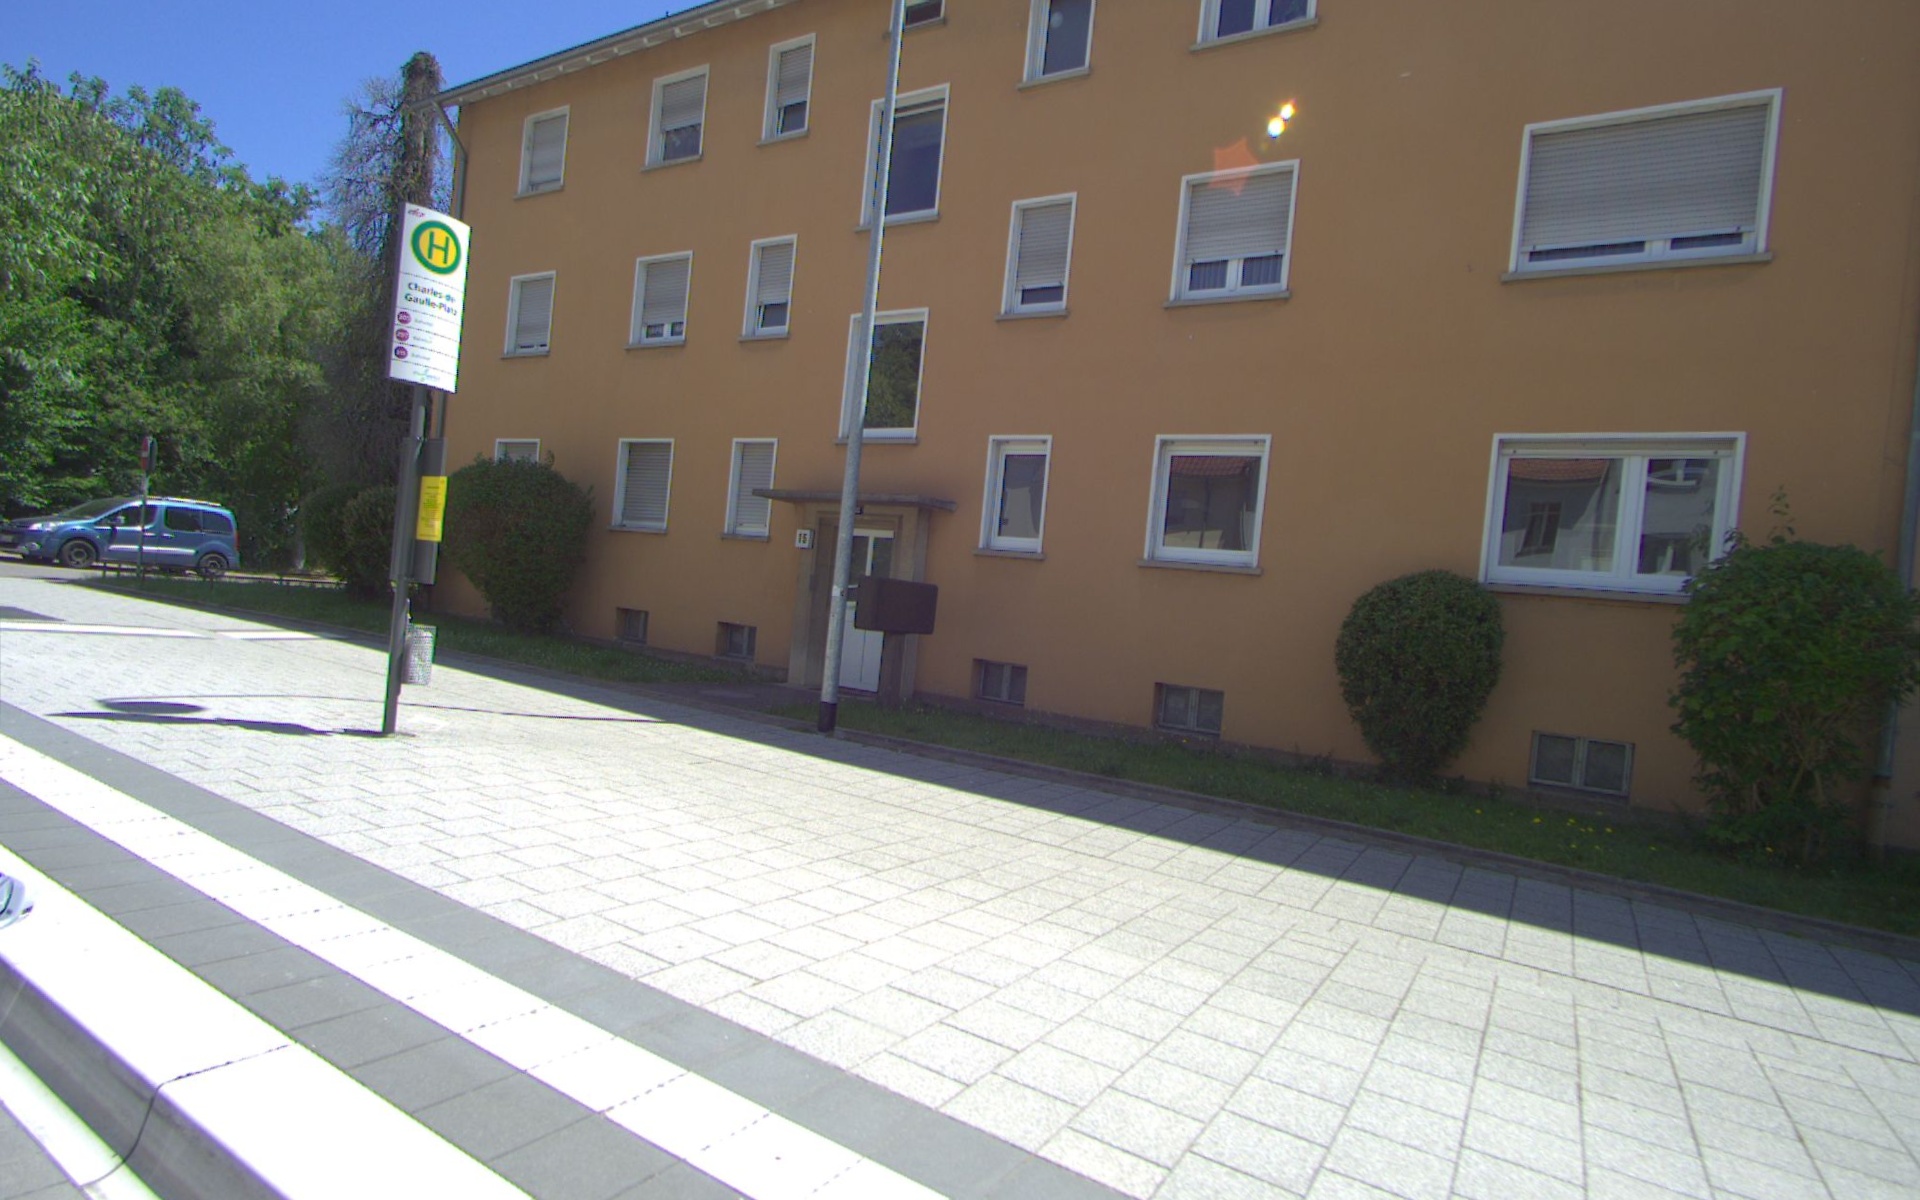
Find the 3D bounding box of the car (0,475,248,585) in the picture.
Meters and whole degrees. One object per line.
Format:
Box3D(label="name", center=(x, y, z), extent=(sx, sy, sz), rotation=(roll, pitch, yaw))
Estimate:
Box3D(label="car", center=(-19.428, -1.542, 23.332), extent=(1.718, 1.860, 4.352), rotation=(6, -2, 23))
